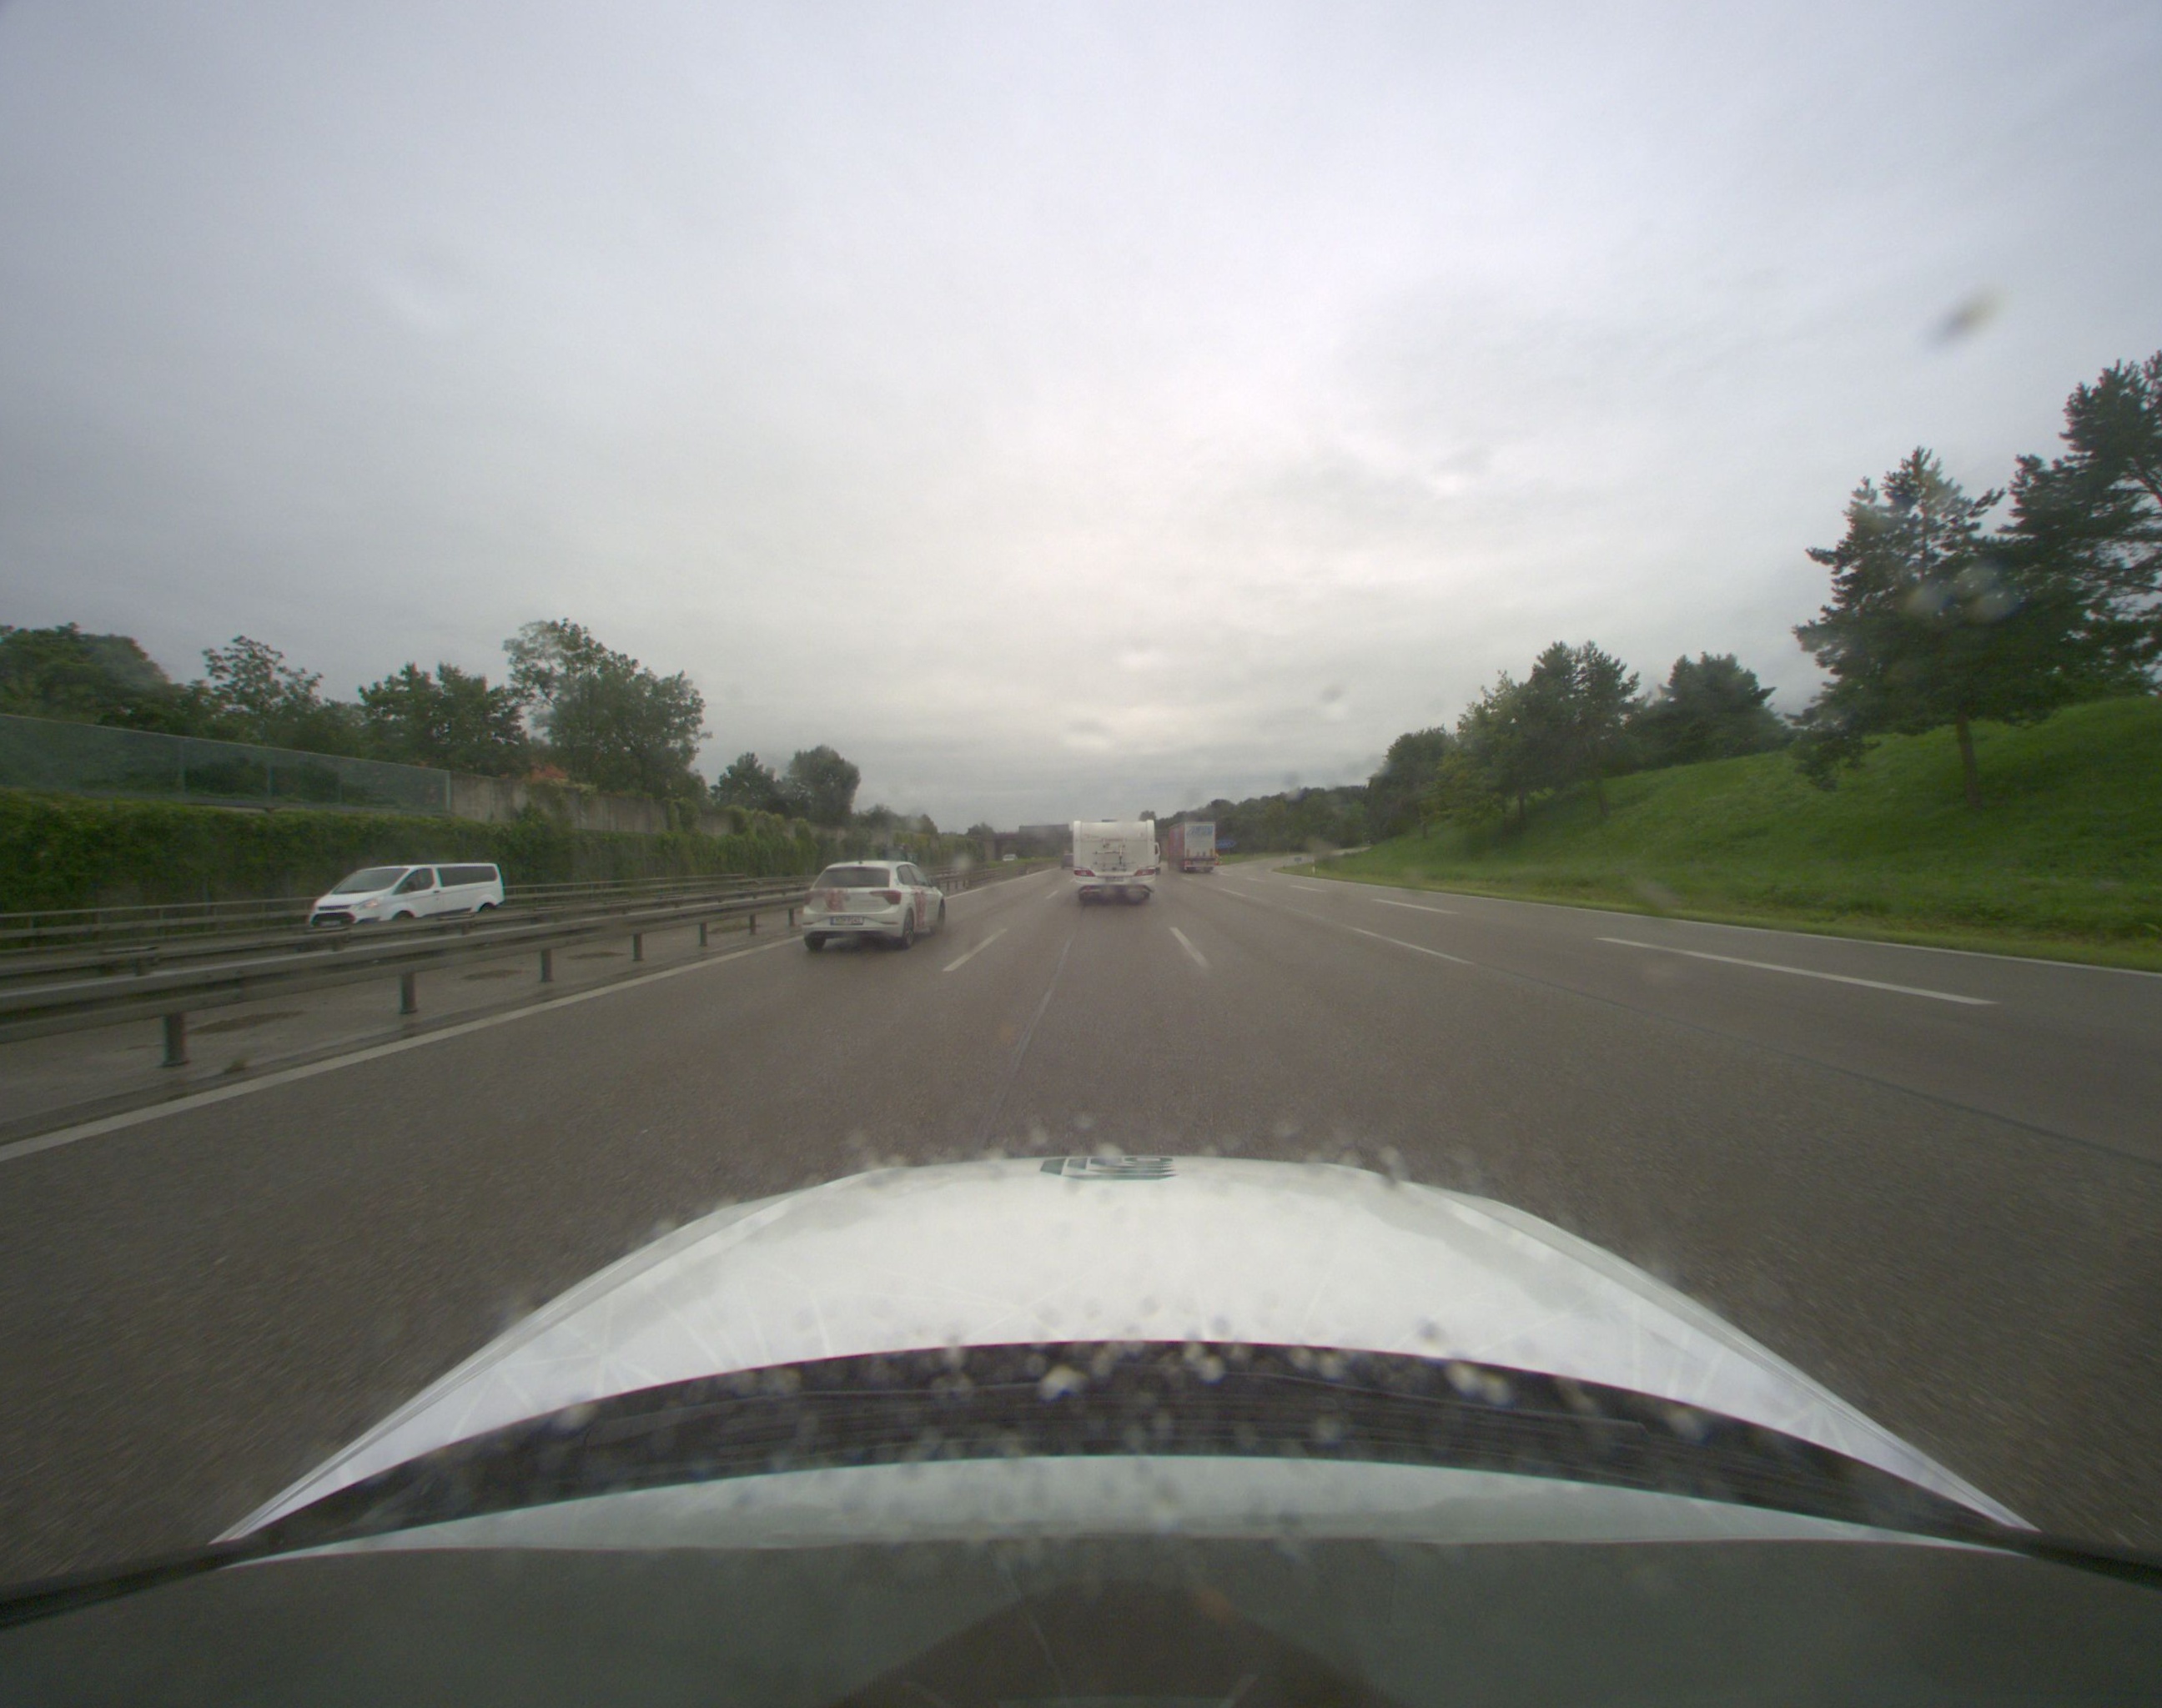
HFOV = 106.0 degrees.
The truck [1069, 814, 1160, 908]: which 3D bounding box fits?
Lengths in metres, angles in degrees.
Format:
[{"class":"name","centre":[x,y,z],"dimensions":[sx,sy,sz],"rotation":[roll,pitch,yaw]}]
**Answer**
[{"class":"truck","centre":[1.035,0.212,26.446],"dimensions":[2.651,2.742,5.079],"rotation":[0,0,1]}]

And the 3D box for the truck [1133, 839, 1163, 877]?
[{"class":"truck","centre":[5.149,0.311,63.097],"dimensions":[2.046,2.770,5.550],"rotation":[0,0,1]}]

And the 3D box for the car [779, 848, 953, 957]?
[{"class":"car","centre":[-3.622,0.736,14.659],"dimensions":[1.746,1.618,4.665],"rotation":[-1,0,2]}]

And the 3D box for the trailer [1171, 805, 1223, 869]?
[{"class":"trailer","centre":[9.582,-1.269,68.721],"dimensions":[3.088,4.922,11.795],"rotation":[0,0,2]}]

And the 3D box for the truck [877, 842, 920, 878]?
[{"class":"truck","centre":[-19.876,0.620,89.116],"dimensions":[2.682,3.777,8.337],"rotation":[0,0,1]}]

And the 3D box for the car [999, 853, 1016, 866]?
[{"class":"car","centre":[-11.803,0.812,131.513],"dimensions":[2.073,2.013,5.196],"rotation":[-1,0,1]}]

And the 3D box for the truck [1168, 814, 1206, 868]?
[{"class":"truck","centre":[9.818,-1.187,75.937],"dimensions":[3.037,4.839,5.853],"rotation":[0,0,2]}]

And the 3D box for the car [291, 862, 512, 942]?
[{"class":"car","centre":[-18.897,1.235,23.059],"dimensions":[1.986,2.014,4.958],"rotation":[0,0,1]}]

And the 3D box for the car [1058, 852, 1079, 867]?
[{"class":"car","centre":[-1.342,0.621,87.882],"dimensions":[1.986,1.600,5.125],"rotation":[0,0,1]}]
